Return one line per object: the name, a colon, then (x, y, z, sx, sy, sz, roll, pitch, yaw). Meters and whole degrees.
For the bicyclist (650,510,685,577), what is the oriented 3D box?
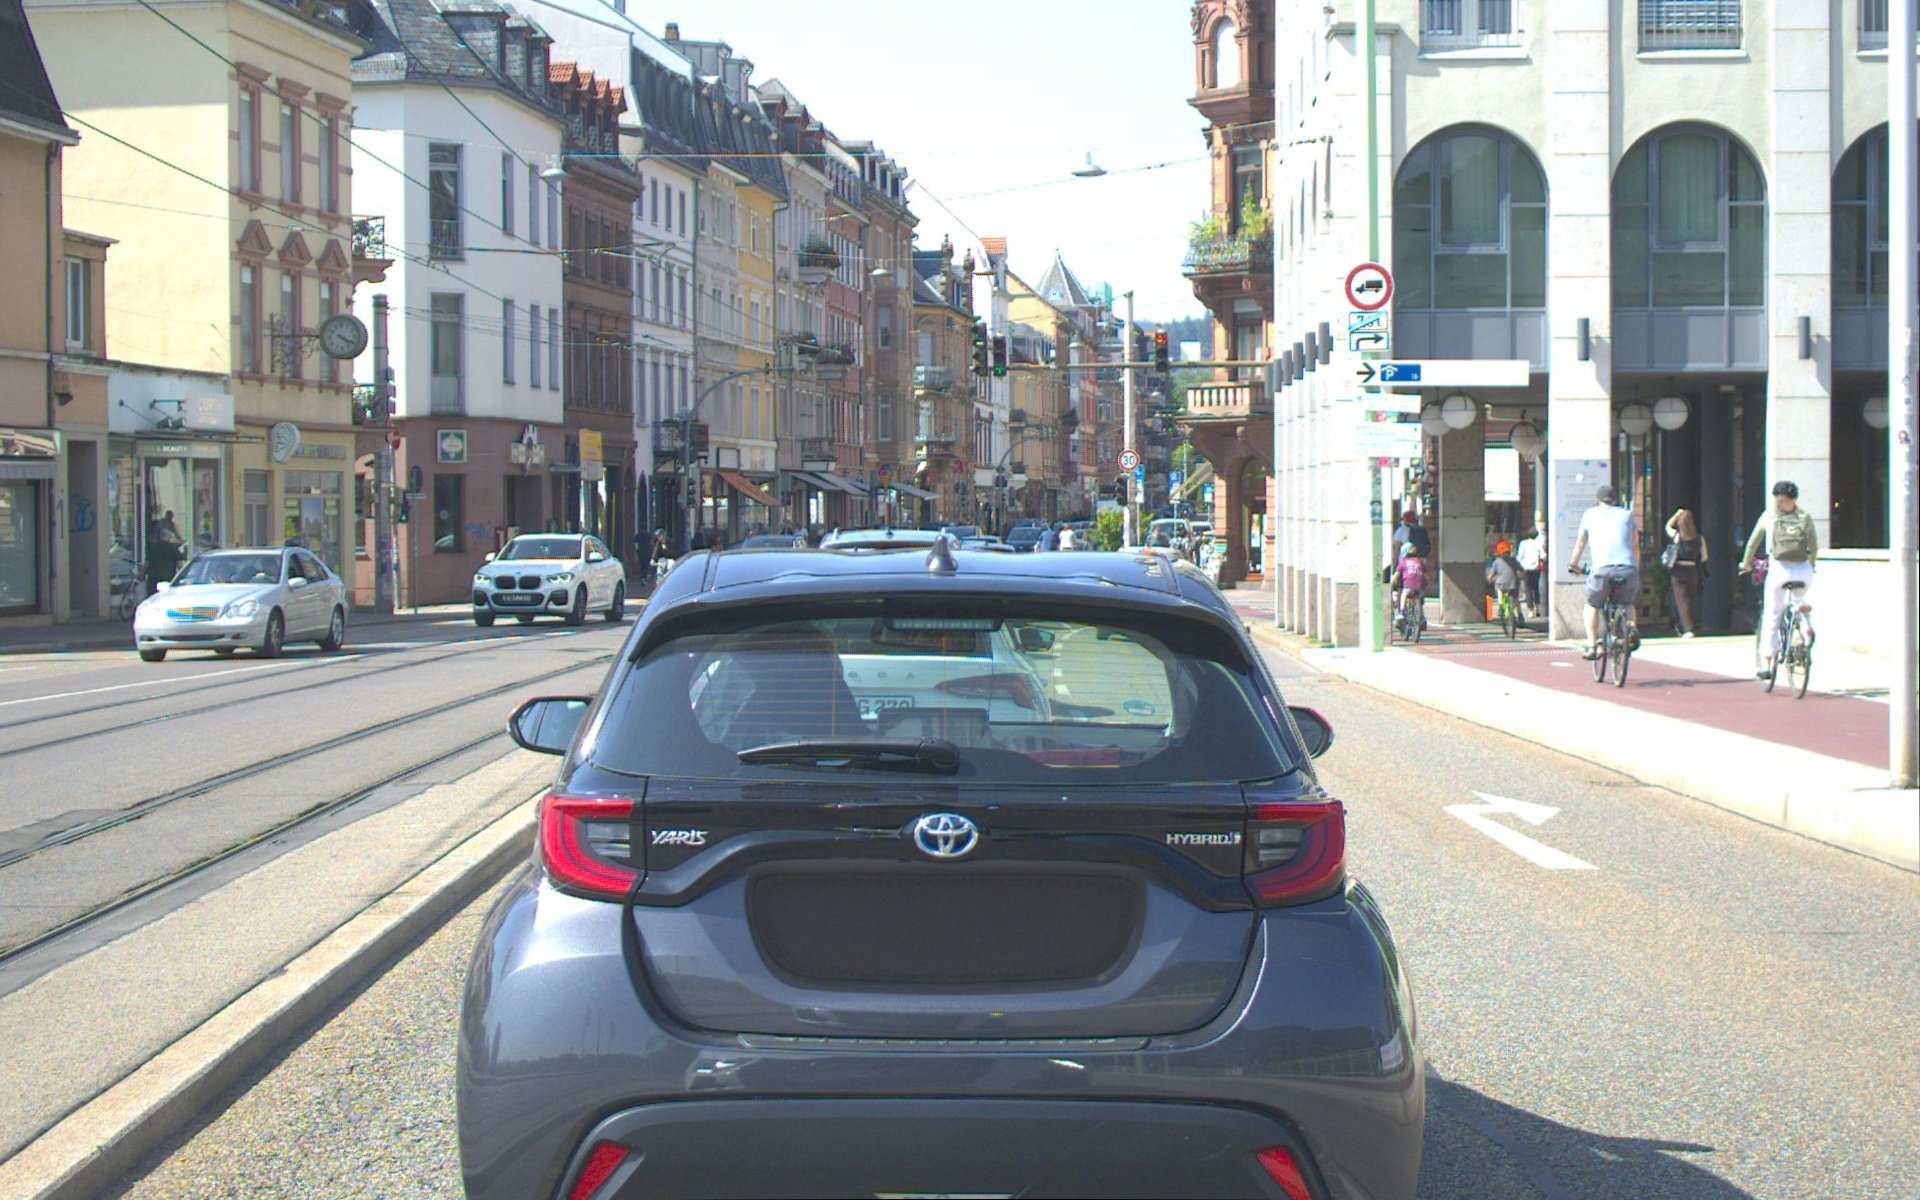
bicyclist: (-7.256, -1.410, 85.390, 0.705, 1.644, 0.621, 2, 2, 8)

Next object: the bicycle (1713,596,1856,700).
bicycle: (6.596, 0.371, 27.596, 0.593, 0.763, 1.867, -1, 1, -3)

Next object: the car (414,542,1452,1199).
car: (-0.083, 0.629, 7.599, 1.720, 1.468, 3.658, 1, 1, -1)

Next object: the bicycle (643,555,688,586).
bicycle: (-7.300, -0.728, 85.312, 0.620, 0.713, 2.044, 2, 2, 9)

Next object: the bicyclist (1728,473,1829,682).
bicyclist: (6.573, -0.186, 27.629, 0.586, 1.645, 0.702, -1, 1, -3)

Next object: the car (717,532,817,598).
car: (-4.590, -0.844, 82.252, 1.794, 1.540, 3.920, 0, 1, 6)

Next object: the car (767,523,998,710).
car: (-0.684, 0.095, 30.668, 1.897, 1.525, 4.000, 1, 1, -1)

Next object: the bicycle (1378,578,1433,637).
bicycle: (6.144, 0.096, 47.442, 0.514, 0.763, 1.661, -2, 1, 0)

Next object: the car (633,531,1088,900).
car: (-0.458, 0.450, 16.561, 1.897, 1.525, 4.000, 1, 1, -1)

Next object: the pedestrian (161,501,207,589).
pedestrian: (-14.598, -1.044, 64.672, 0.649, 1.596, 0.566, 4, 3, 0)

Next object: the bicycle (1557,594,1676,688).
bicycle: (5.801, 0.352, 30.466, 0.593, 0.763, 1.867, -1, 1, -3)

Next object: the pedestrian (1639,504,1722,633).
pedestrian: (9.383, -0.415, 44.798, 0.739, 1.609, 1.016, 4, 1, -1)

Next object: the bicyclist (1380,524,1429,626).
bicyclist: (6.132, -0.346, 47.419, 0.534, 1.378, 0.669, -2, 1, -1)

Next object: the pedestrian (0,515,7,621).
pedestrian: (-14.747, -0.406, 51.276, 0.736, 1.760, 0.787, 4, 1, 0)

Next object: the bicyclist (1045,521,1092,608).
bicyclist: (3.305, -1.079, 104.181, 1.228, 2.520, 1.105, 4, 1, 3)

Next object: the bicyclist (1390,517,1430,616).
bicyclist: (6.704, -0.502, 51.229, 0.442, 1.461, 0.484, -2, 1, 22)

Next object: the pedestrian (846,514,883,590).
pedestrian: (-3.352, -1.680, 120.734, 1.051, 2.579, 1.501, 4, 1, 0)

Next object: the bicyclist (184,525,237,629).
bicyclist: (-12.010, -0.372, 55.089, 0.627, 1.644, 0.621, 2, 2, 8)

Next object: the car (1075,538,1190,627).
car: (3.011, -0.336, 60.840, 1.705, 1.461, 4.326, 1, 1, -1)

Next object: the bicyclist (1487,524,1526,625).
bicyclist: (7.549, -0.350, 47.510, 0.422, 1.378, 0.443, -2, 1, -1)

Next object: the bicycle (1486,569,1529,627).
bicycle: (7.563, -0.032, 47.524, 0.416, 0.763, 0.962, -2, 1, 0)

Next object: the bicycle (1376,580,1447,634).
bicycle: (6.726, 0.106, 51.234, 0.959, 0.763, 0.417, -1, 1, 22)

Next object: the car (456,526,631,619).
car: (-7.342, -0.501, 61.056, 1.994, 1.581, 4.651, 0, 1, 7)

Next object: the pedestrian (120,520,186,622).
pedestrian: (-13.604, -0.487, 57.958, 0.762, 1.648, 0.711, 4, 1, 8)

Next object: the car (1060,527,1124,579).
car: (5.561, -1.968, 144.463, 1.994, 2.007, 3.998, 4, 1, 10)

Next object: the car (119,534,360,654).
car: (-9.186, -0.106, 44.175, 1.731, 1.455, 4.373, 0, 1, 6)

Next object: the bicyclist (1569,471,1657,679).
bicyclist: (5.788, -0.229, 30.505, 0.586, 1.814, 0.702, -1, 1, -3)
